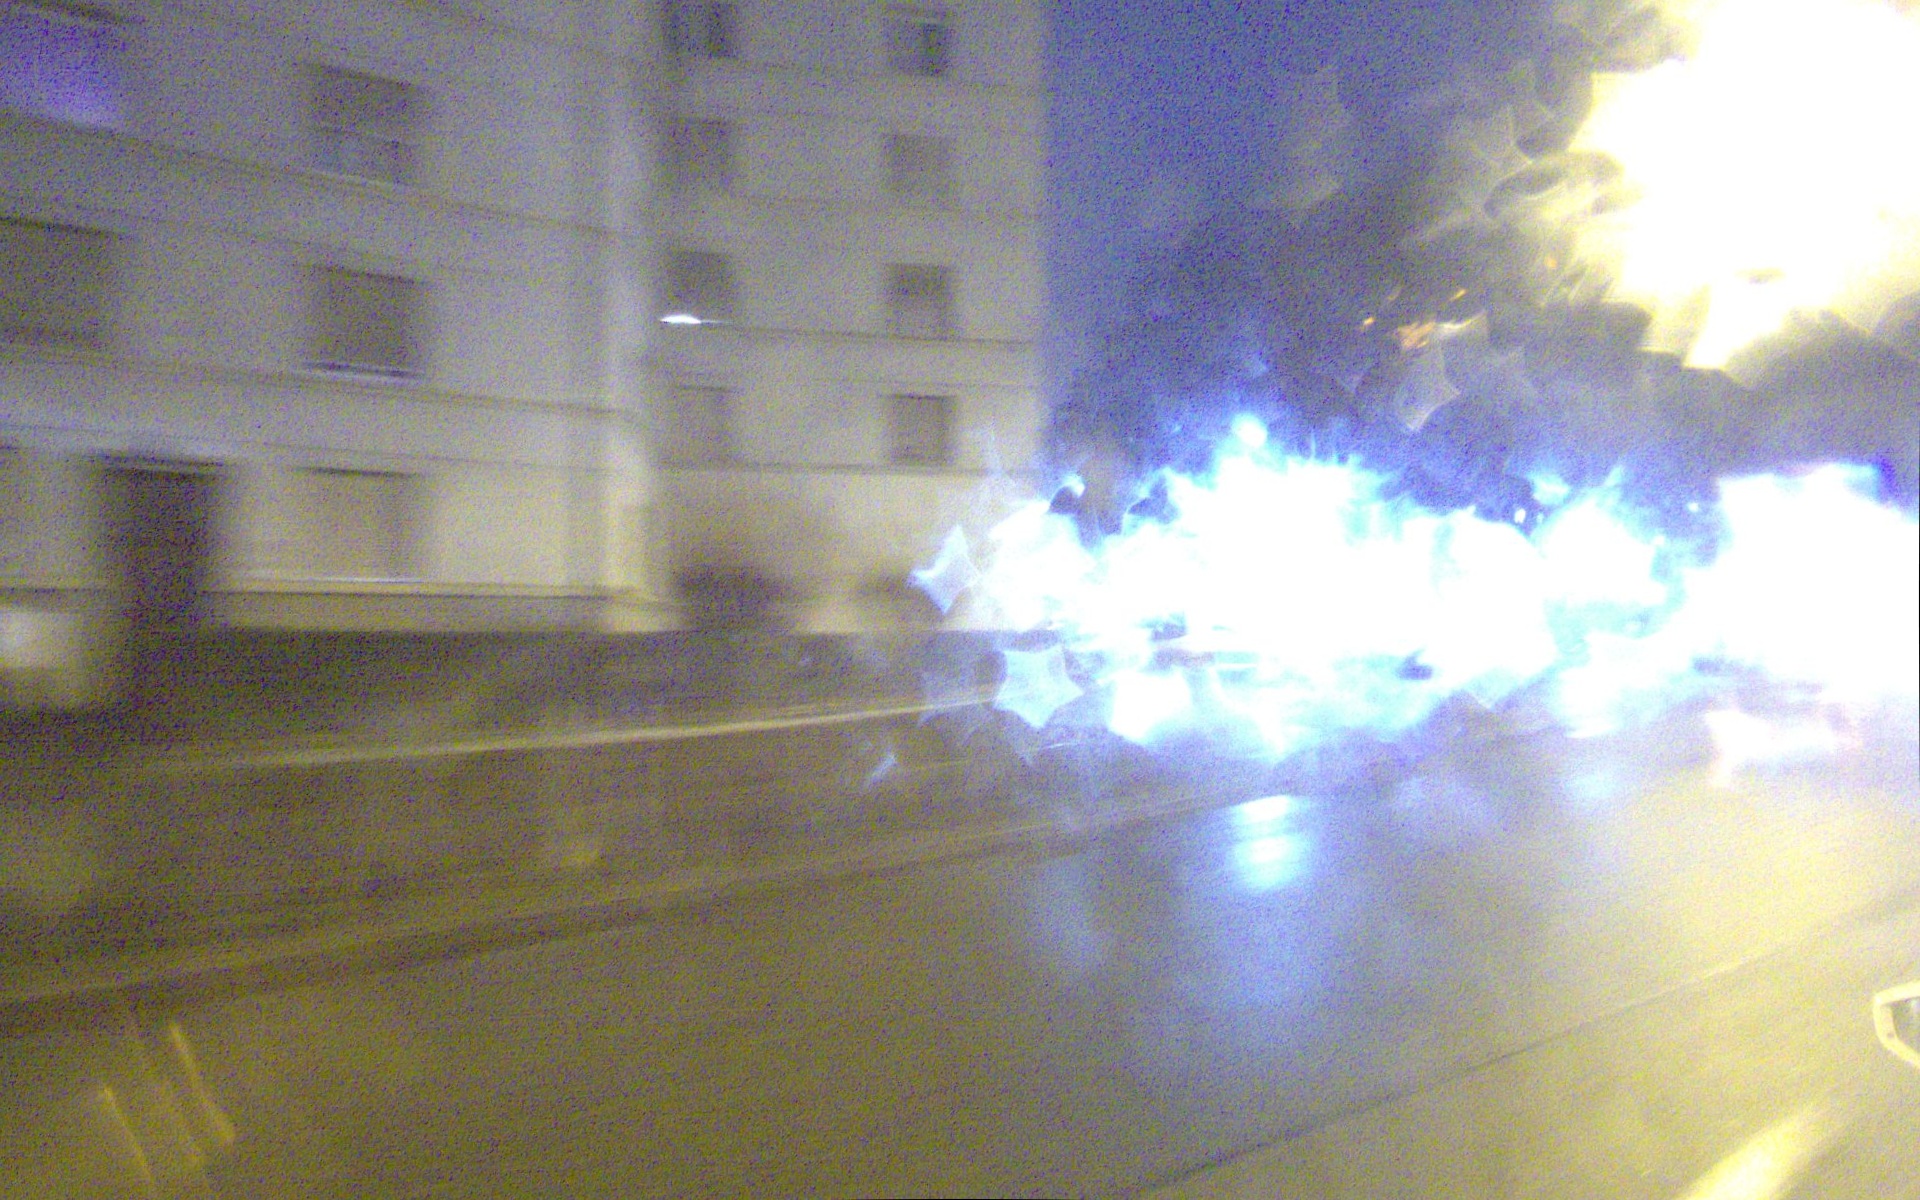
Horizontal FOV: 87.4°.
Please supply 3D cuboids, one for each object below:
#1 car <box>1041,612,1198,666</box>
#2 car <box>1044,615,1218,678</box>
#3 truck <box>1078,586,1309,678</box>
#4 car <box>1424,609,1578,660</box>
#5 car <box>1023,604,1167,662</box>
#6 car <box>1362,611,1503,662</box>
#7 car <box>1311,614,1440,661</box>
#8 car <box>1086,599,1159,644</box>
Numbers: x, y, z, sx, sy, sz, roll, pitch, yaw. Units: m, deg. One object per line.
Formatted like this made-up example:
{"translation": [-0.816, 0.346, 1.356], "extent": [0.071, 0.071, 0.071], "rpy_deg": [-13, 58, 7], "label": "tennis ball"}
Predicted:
{"translation": [4.900, 1.196, 31.116], "extent": [4.414, 1.560, 1.867], "rpy_deg": [0, -1, -11], "label": "car"}
{"translation": [4.735, 1.260, 28.028], "extent": [4.414, 1.634, 1.867], "rpy_deg": [0, -1, -11], "label": "car"}
{"translation": [5.758, 0.770, 25.039], "extent": [5.169, 2.040, 2.126], "rpy_deg": [-1, -1, -12], "label": "truck"}
{"translation": [16.251, 1.022, 30.231], "extent": [3.849, 1.450, 1.716], "rpy_deg": [0, -1, -11], "label": "car"}
{"translation": [4.479, 1.095, 33.605], "extent": [4.414, 1.818, 1.867], "rpy_deg": [0, -1, -11], "label": "car"}
{"translation": [15.282, 1.157, 32.551], "extent": [3.849, 1.540, 1.716], "rpy_deg": [0, -1, -11], "label": "car"}
{"translation": [14.430, 1.297, 34.963], "extent": [3.849, 1.540, 1.716], "rpy_deg": [0, -1, -11], "label": "car"}
{"translation": [10.311, 1.355, 63.798], "extent": [4.277, 2.767, 1.716], "rpy_deg": [0, -1, -11], "label": "car"}
